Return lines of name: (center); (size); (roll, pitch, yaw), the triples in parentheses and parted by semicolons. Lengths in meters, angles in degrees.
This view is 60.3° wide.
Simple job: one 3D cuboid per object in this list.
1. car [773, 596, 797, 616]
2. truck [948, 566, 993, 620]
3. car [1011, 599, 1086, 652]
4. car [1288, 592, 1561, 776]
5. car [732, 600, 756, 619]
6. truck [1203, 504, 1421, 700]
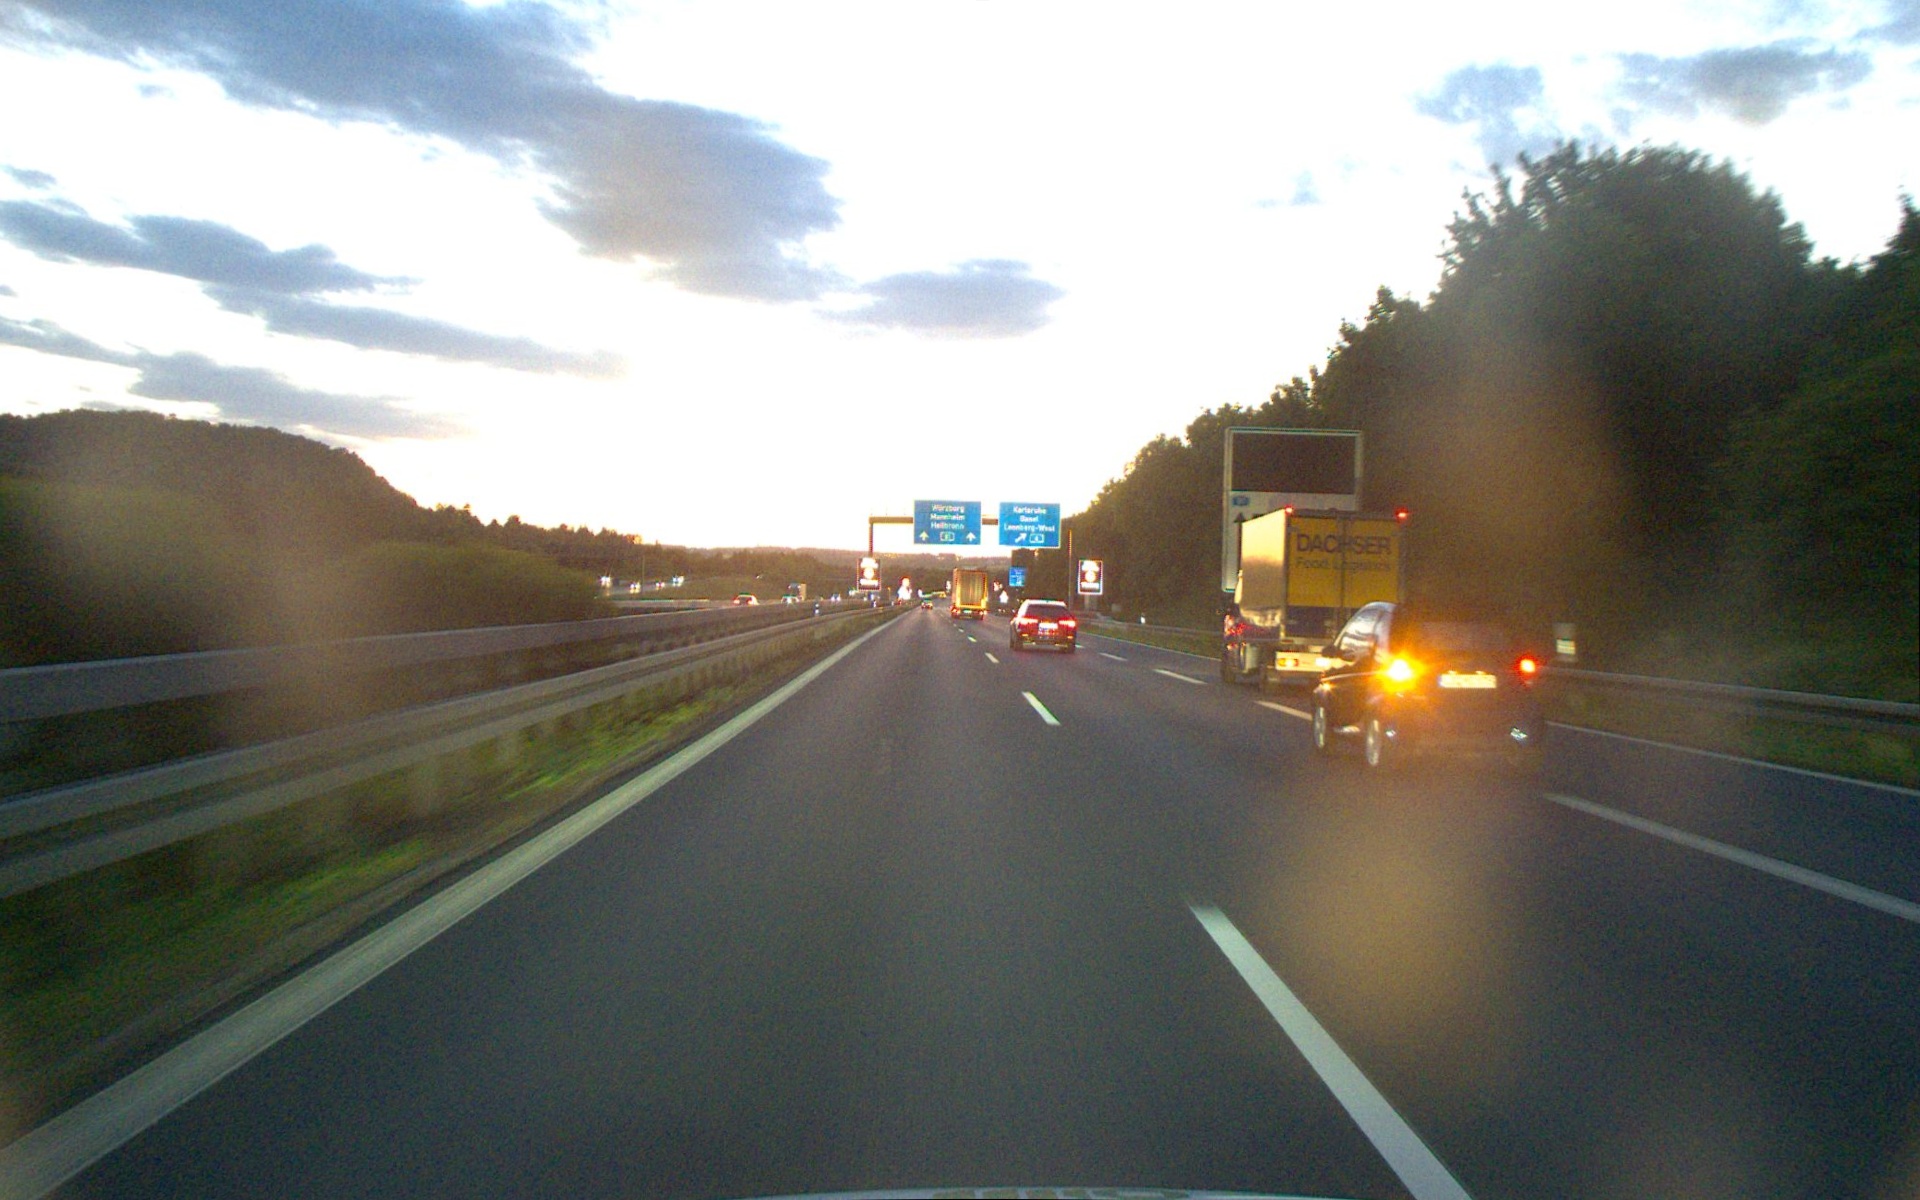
car: (-14.711, 0.538, 138.981); (1.678, 1.634, 3.721); (1, -1, -1)
truck: (0.801, -0.505, 140.606); (3.439, 4.377, 9.887); (1, -1, -2)
car: (2.553, 0.728, 48.545); (1.876, 1.467, 3.999); (1, 0, -1)
car: (4.357, 0.742, 15.994); (1.578, 1.583, 3.317); (1, -1, -3)
car: (-18.382, 0.781, 140.841); (1.604, 1.573, 3.394); (1, -1, -1)
truck: (6.146, 0.027, 29.921); (2.223, 3.023, 6.629); (3, 0, -2)
